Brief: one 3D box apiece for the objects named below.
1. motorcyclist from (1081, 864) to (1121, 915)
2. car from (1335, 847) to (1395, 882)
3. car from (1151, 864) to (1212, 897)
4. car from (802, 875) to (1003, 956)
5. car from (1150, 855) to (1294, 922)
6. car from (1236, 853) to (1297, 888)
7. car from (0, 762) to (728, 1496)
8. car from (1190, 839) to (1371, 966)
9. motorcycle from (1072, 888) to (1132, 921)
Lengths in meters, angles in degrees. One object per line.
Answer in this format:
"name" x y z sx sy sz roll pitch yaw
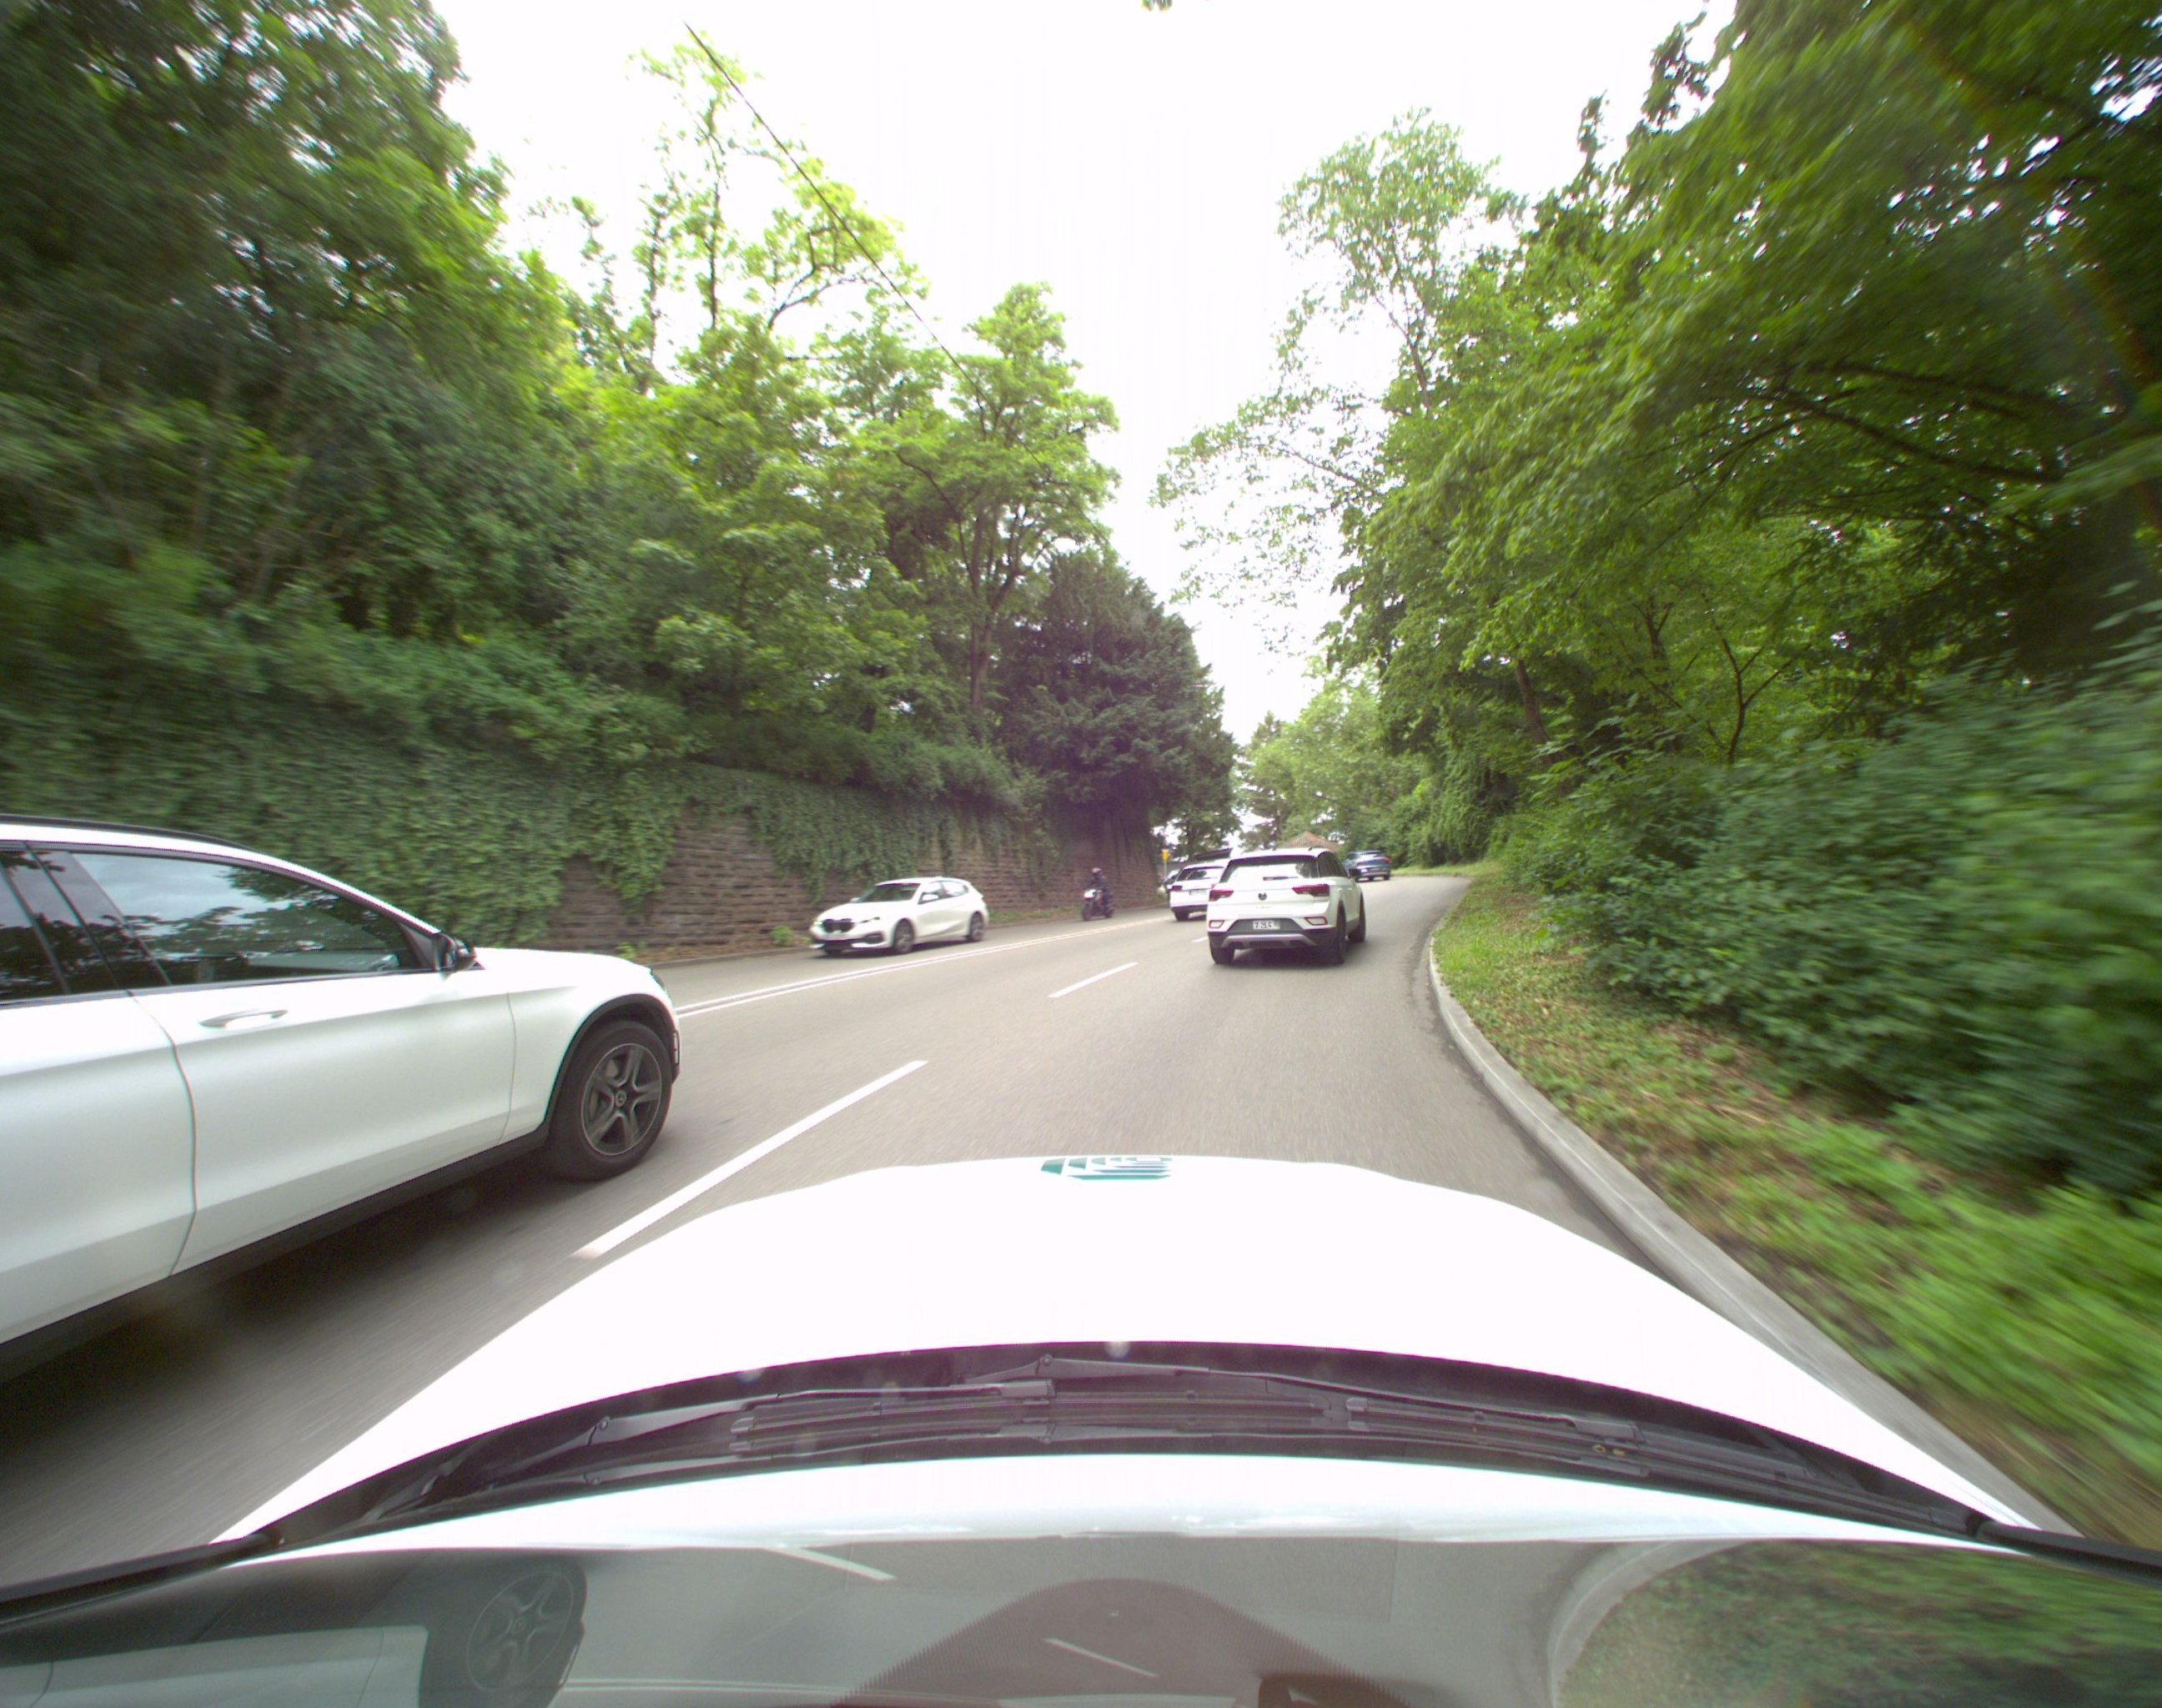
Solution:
"motorcyclist" 0.643 1.116 25.547 0.739 1.529 1.101 -5 -3 28
"car" 14.306 0.559 41.204 1.663 1.501 4.026 -6 -3 3
"car" 5.941 1.618 48.771 1.866 1.597 4.603 -4 -3 -16
"car" -3.486 1.184 16.779 1.730 1.416 4.353 -4 -3 24
"car" 3.956 0.874 22.184 1.846 1.534 4.807 -5 -2 36
"car" 10.844 1.016 47.946 1.960 1.764 4.210 -5 -2 -8
"car" -3.228 0.631 2.540 1.850 1.606 4.677 -1 -2 5
"car" 3.192 0.614 12.299 1.738 1.553 4.363 -3 -1 25
"motorcycle" 0.691 1.563 25.576 0.800 0.890 2.444 -5 -3 28
